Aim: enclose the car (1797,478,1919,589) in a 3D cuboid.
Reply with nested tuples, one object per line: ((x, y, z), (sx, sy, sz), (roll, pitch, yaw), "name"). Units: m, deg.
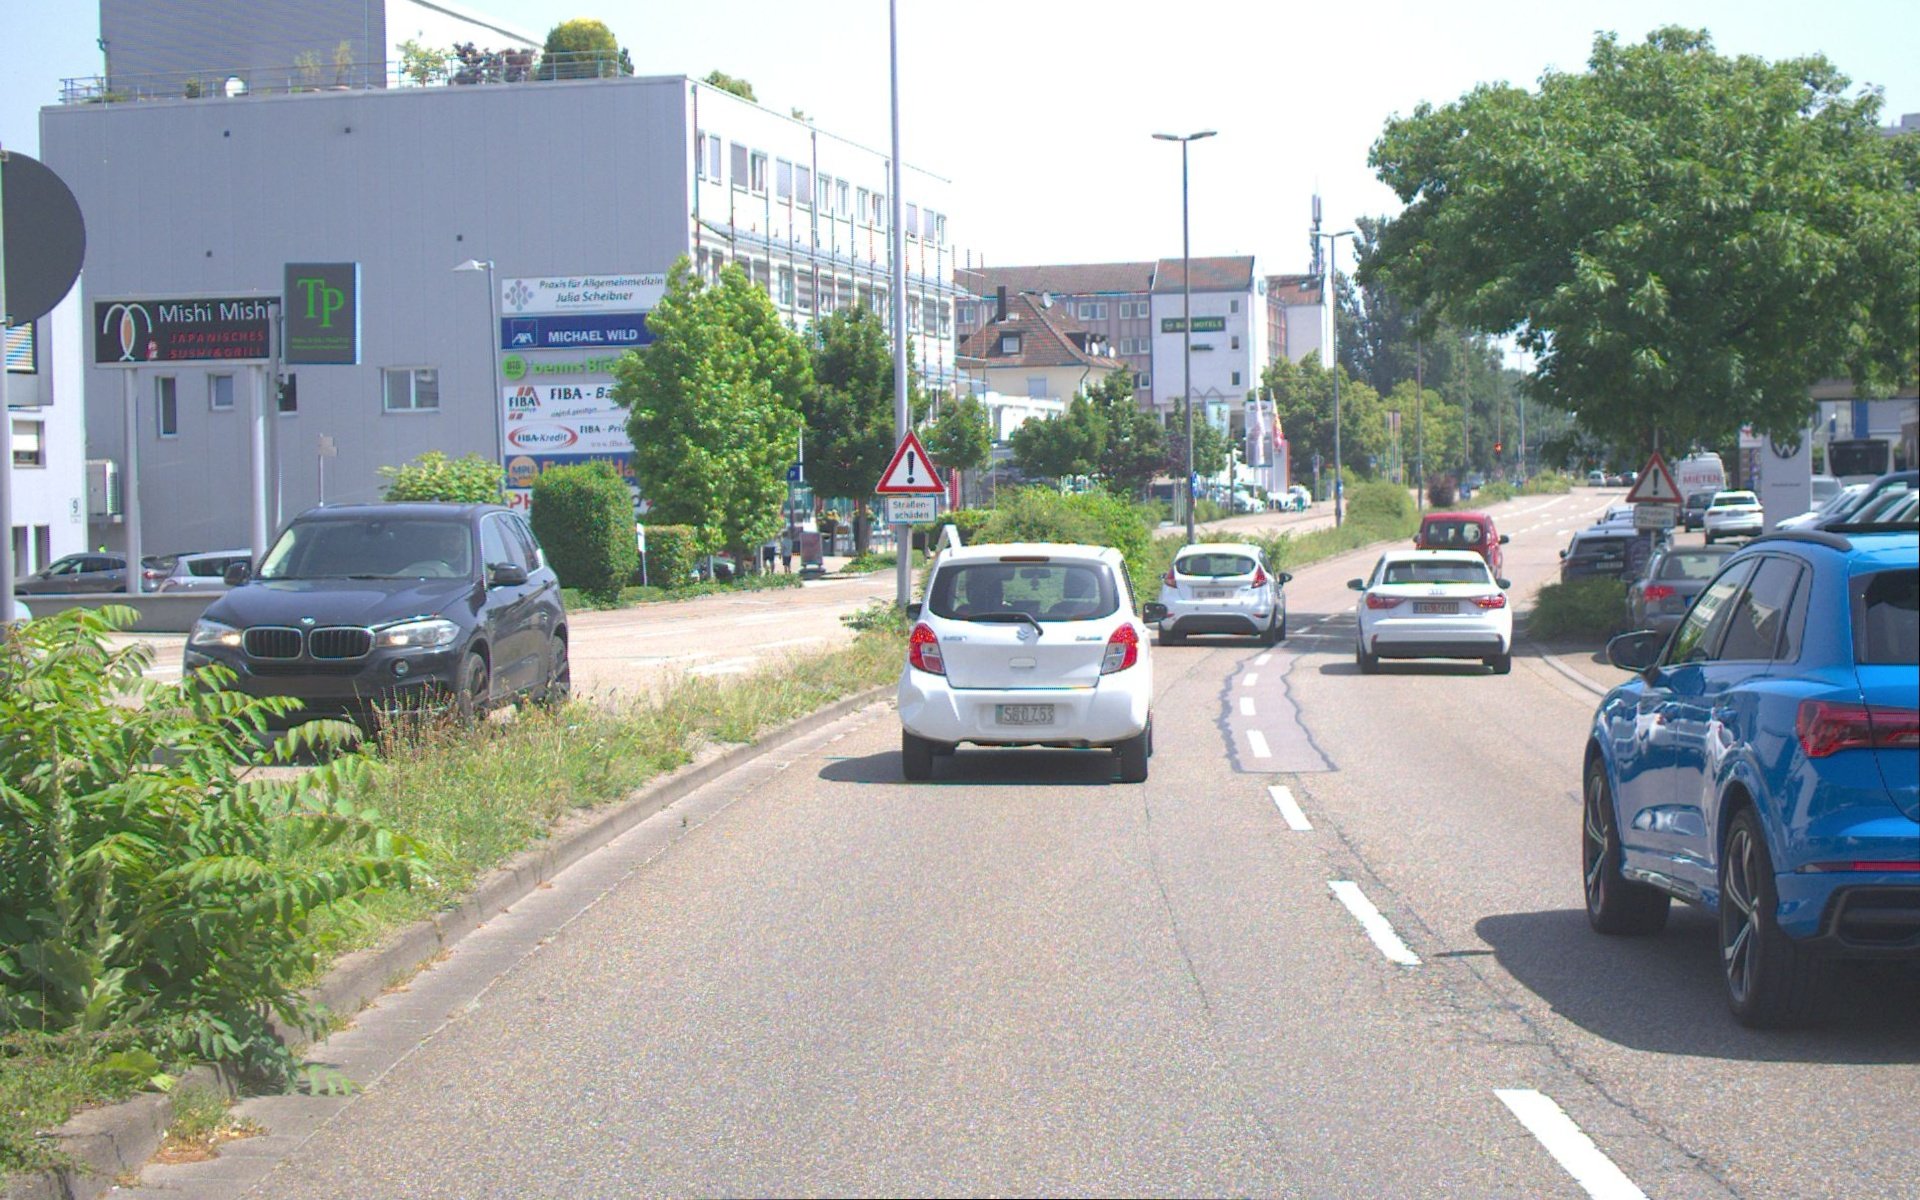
((19.656, -1.414, 70.014), (4.901, 2.107, 2.128), (-2, 2, 11), "car")

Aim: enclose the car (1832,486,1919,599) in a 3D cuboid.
((18.793, -1.173, 64.568), (4.512, 2.007, 2.197), (-3, 0, 13), "car")

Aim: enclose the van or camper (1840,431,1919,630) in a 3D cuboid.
((16.586, -1.113, 50.741), (6.799, 2.888, 2.274), (-1, 2, 11), "van or camper")

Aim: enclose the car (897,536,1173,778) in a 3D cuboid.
((0.443, 0.353, 23.240), (1.712, 1.505, 3.247), (1, 0, -1), "car")

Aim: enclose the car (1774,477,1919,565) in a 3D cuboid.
((22.806, -2.005, 85.818), (4.642, 2.006, 1.959), (-2, 2, 10), "car")

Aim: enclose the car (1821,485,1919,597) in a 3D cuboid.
((19.632, -1.248, 67.526), (5.066, 2.089, 2.039), (-3, 1, 11), "car")

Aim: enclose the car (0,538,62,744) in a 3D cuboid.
((-7.359, 0.281, 21.857), (1.897, 1.356, 4.197), (0, 1, 5), "car")

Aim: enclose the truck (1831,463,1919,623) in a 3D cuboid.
((16.377, -0.979, 53.685), (5.250, 2.427, 2.110), (-2, 2, 13), "truck")

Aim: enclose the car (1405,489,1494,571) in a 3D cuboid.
((10.723, -1.520, 75.174), (1.795, 1.723, 3.971), (1, 1, 10), "car")

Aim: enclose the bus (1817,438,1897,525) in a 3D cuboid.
((34.438, -4.607, 131.841), (2.806, 3.068, 12.278), (0, 3, 15), "bus")

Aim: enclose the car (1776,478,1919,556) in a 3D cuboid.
((22.533, -2.065, 85.588), (4.152, 1.775, 1.880), (-2, 0, 11), "car")

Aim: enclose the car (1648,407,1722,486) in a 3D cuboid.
((29.117, -6.117, 138.297), (2.134, 2.829, 7.307), (-6, 1, 8), "car")

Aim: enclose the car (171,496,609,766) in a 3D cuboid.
((-3.980, 0.188, 24.864), (1.909, 1.745, 4.759), (1, 0, 6), "car")

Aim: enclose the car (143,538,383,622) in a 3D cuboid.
((-12.693, -0.353, 62.718), (3.988, 1.454, 1.575), (-1, 0, 7), "car")

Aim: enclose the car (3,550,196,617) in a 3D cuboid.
((-20.460, -0.410, 81.836), (3.972, 1.462, 1.964), (-1, 2, 6), "car")

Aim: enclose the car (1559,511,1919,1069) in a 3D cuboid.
((3.390, 0.488, 11.975), (1.913, 1.591, 4.396), (0, 1, 1), "car")

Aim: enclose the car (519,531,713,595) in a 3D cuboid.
((-8.284, -0.905, 82.901), (4.225, 1.344, 1.980), (-2, 2, 11), "car")

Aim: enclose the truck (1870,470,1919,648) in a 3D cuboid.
((15.572, -0.664, 46.319), (6.249, 2.328, 2.367), (-2, 2, 13), "truck")

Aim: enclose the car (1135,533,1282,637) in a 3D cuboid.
((3.593, -0.243, 50.344), (1.830, 1.445, 4.000), (0, 1, 0), "car")

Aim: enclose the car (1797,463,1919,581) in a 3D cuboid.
((21.258, -1.678, 74.908), (5.847, 2.515, 2.203), (1, 0, 14), "car")

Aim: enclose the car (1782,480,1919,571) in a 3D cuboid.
((21.658, -1.690, 77.772), (5.897, 2.007, 2.258), (1, 2, 13), "car")

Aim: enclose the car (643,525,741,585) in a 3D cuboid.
((-7.342, -1.262, 94.562), (1.660, 1.462, 3.796), (-3, 2, 11), "car")

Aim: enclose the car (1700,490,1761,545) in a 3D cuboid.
((23.959, -2.583, 106.996), (1.668, 1.590, 4.611), (-2, 2, 11), "car")

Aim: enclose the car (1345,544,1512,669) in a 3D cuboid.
((5.463, 0.043, 40.429), (1.667, 1.394, 3.793), (0, 1, 4), "car")

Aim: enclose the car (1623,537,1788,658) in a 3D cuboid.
((9.289, -0.068, 43.093), (1.798, 1.401, 4.319), (1, 1, 10), "car")
